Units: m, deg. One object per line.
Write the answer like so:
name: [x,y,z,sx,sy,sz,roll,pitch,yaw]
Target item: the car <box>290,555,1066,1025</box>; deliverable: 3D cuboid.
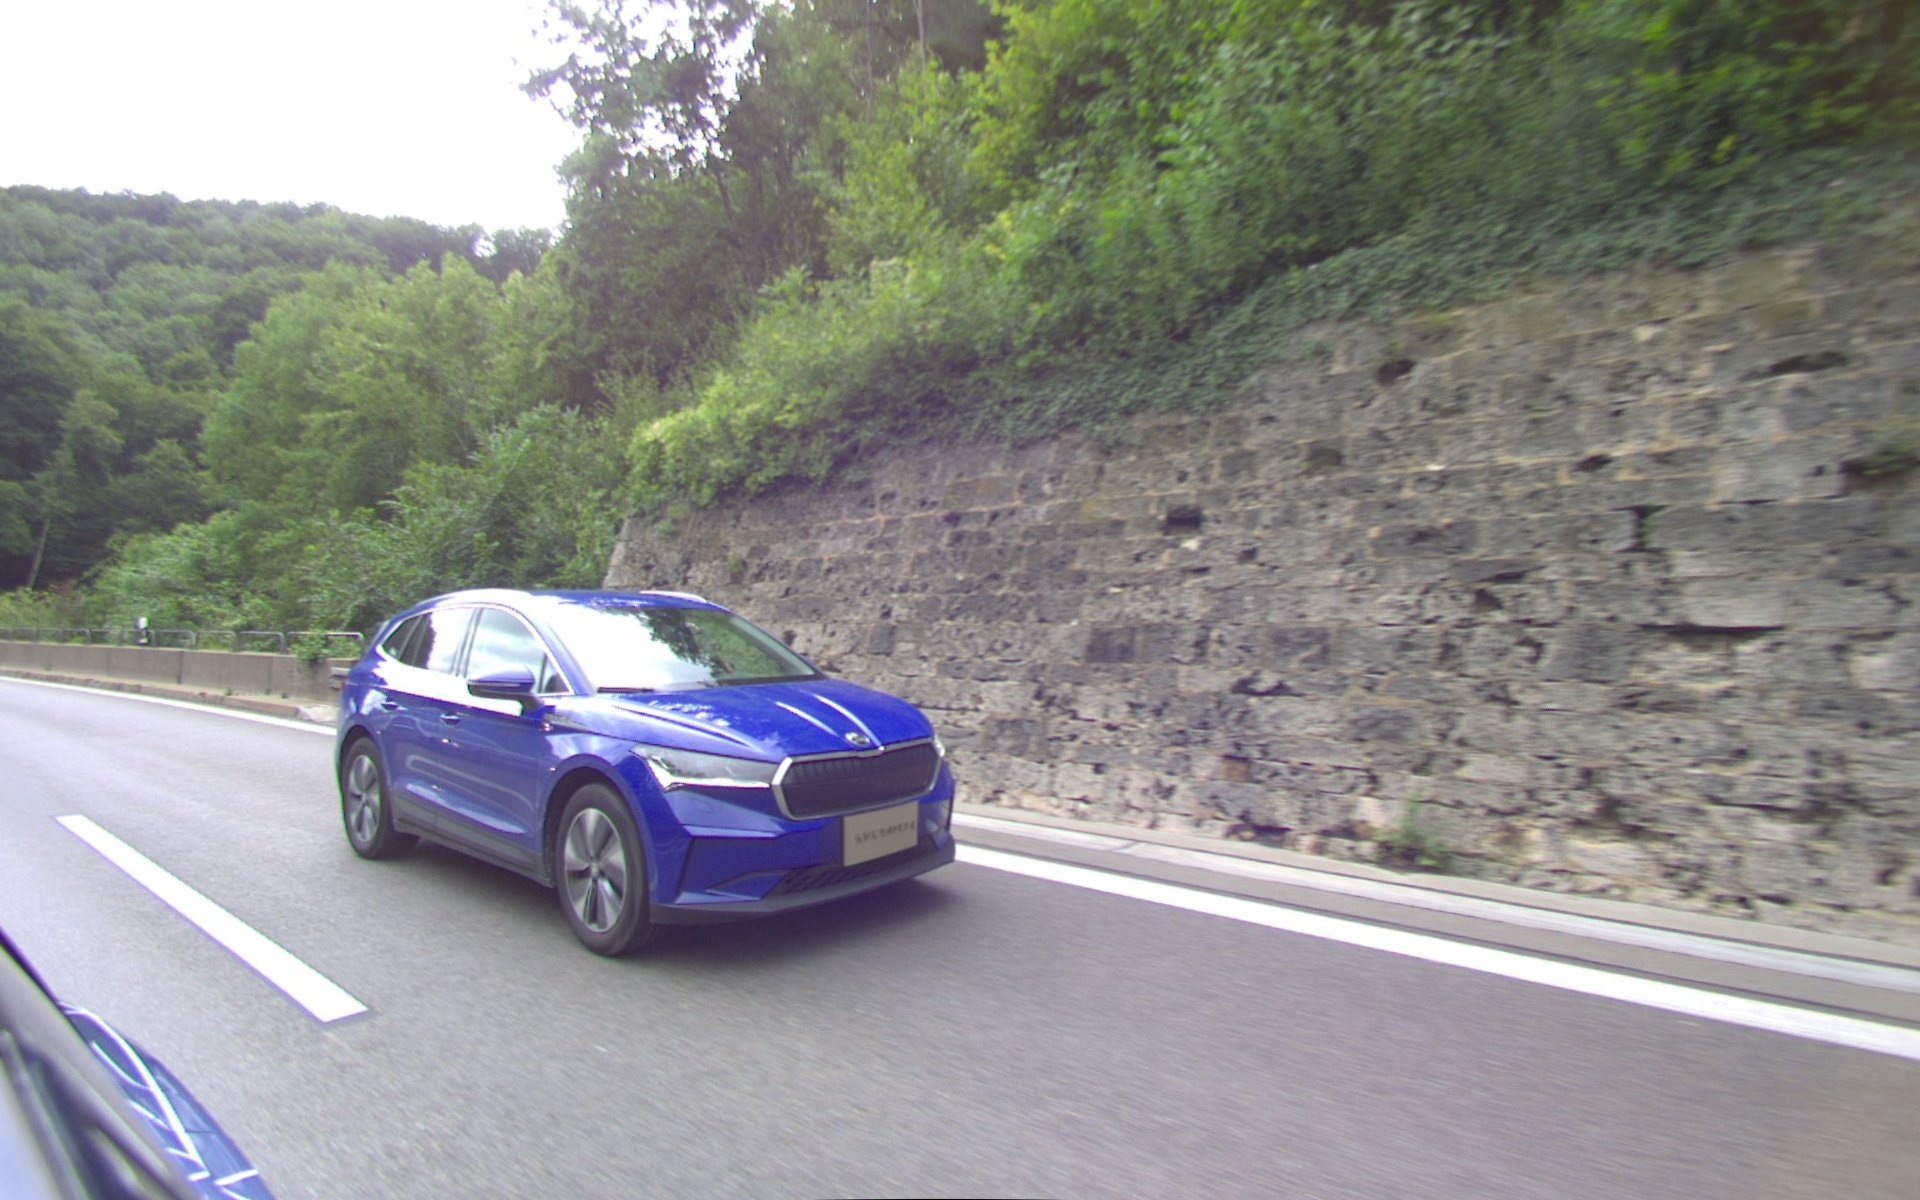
car: [-2.006,0.705,5.946,5.006,1.644,1.973,-1,-1,41]
